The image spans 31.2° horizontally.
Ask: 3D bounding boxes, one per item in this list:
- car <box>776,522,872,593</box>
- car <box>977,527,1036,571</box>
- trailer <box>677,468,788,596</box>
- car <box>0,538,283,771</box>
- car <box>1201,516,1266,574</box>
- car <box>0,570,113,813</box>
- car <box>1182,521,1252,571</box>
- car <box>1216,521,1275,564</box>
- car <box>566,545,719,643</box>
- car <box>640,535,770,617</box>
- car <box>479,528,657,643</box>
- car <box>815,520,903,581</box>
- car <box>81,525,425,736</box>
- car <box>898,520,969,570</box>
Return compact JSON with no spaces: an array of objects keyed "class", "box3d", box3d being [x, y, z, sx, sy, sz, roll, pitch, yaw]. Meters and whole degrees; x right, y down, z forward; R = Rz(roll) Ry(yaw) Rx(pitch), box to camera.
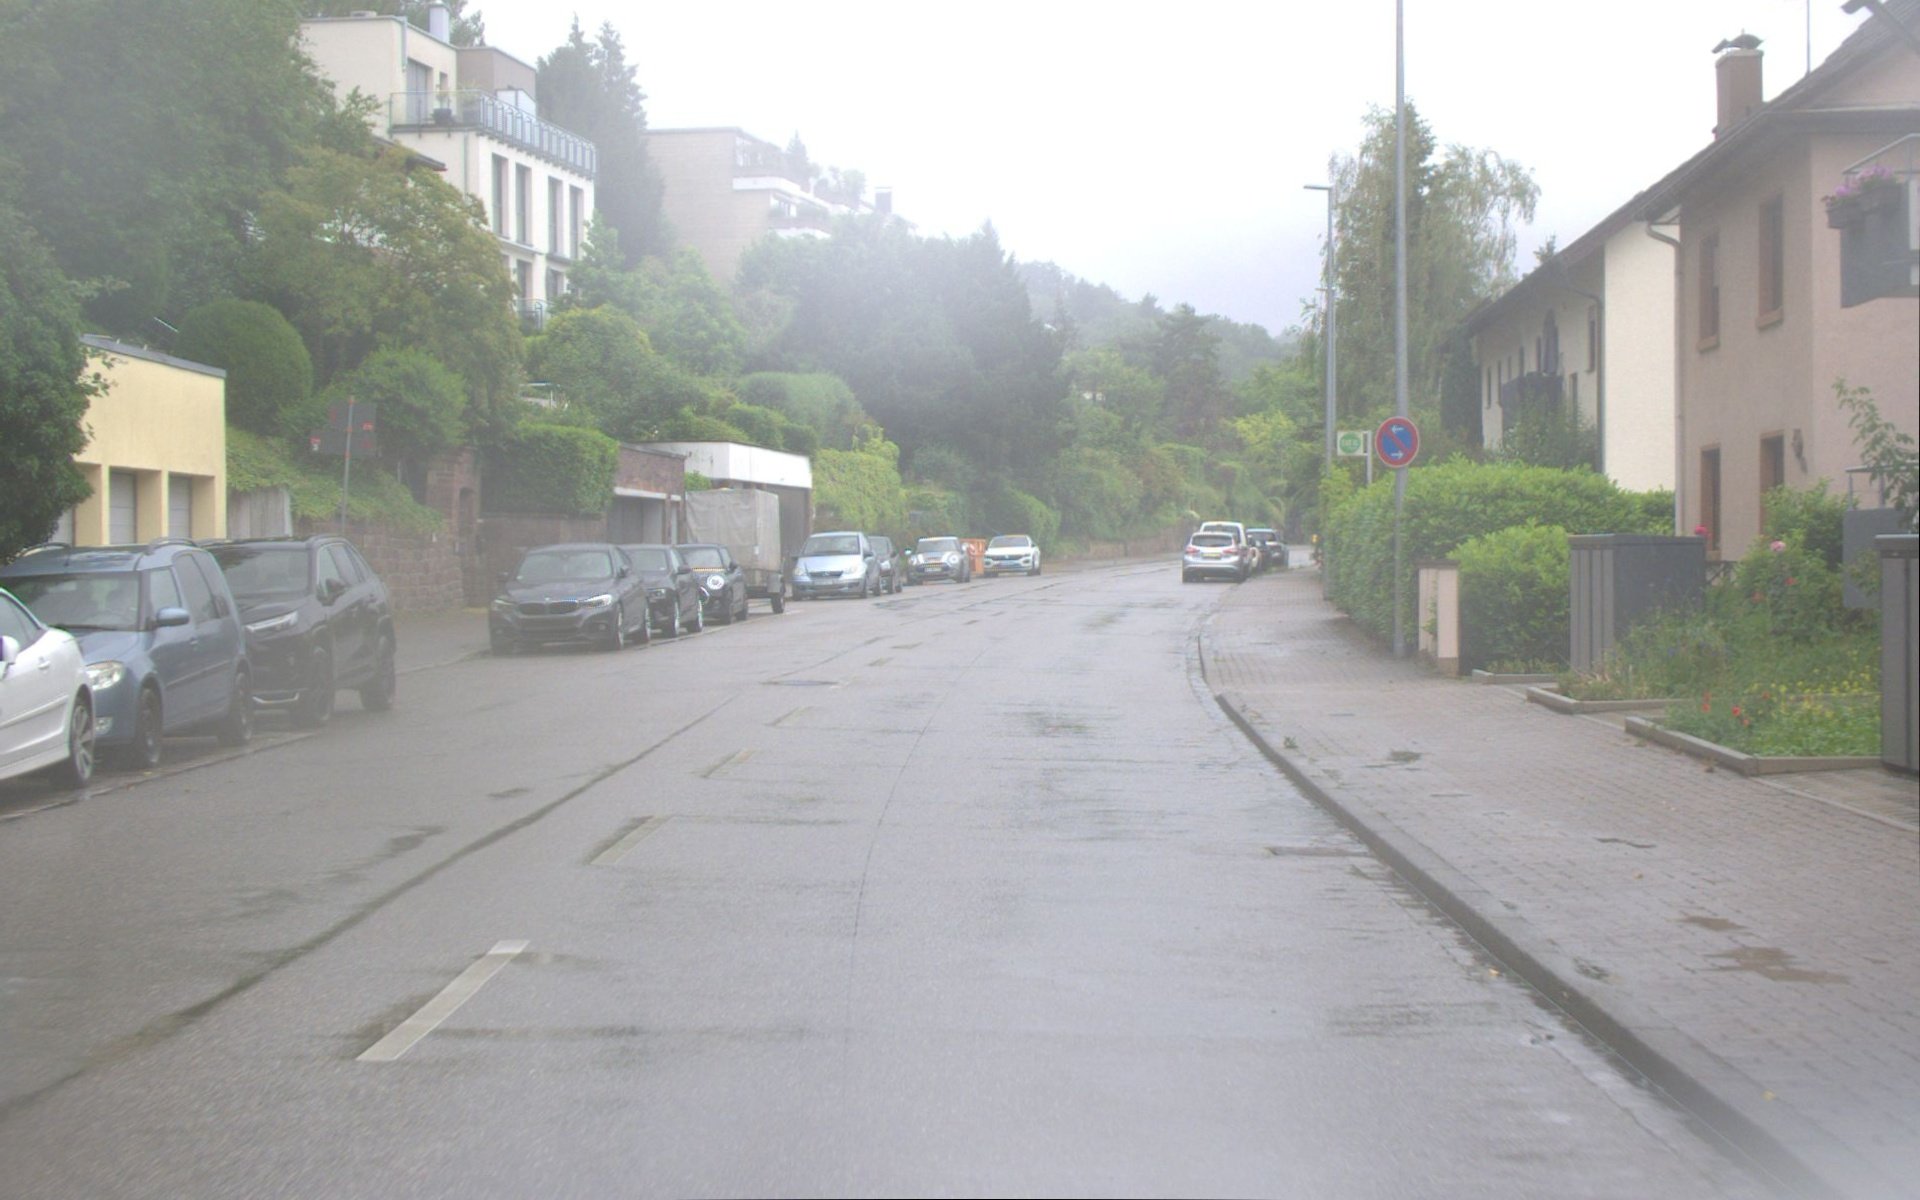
[{"class":"car","box3d":[-3.188,-1.022,81.157,1.756,1.534,3.756,-3,1,5]},{"class":"car","box3d":[1.677,-1.820,122.964,1.756,1.492,4.219,-1,1,6]},{"class":"trailer","box3d":[-4.397,-1.323,66.838,1.537,2.391,3.072,-2,1,7]},{"class":"car","box3d":[-6.444,0.350,25.605,1.742,1.555,4.109,-2,1,3]},{"class":"car","box3d":[8.717,-1.745,109.384,1.785,1.784,4.360,1,1,8]},{"class":"car","box3d":[-6.491,0.572,20.818,1.716,1.361,4.084,-2,2,-1]},{"class":"car","box3d":[7.762,-1.626,103.510,1.790,1.455,4.307,1,1,8]},{"class":"car","box3d":[9.603,-1.930,115.608,1.710,1.398,4.202,1,1,8]},{"class":"car","box3d":[-4.996,-0.118,54.544,1.785,1.410,4.217,-1,2,3]},{"class":"car","box3d":[-4.490,-0.454,61.107,1.808,1.344,3.776,-1,2,3]},{"class":"car","box3d":[-5.488,-0.243,48.625,1.785,1.450,4.755,-2,1,2]},{"class":"car","box3d":[-2.520,-1.267,86.742,1.756,1.404,3.704,-3,1,5]},{"class":"car","box3d":[-6.180,0.203,30.592,1.874,1.620,4.593,-3,1,2]},{"class":"car","box3d":[-0.784,-1.674,103.959,1.756,1.397,3.769,-2,1,5]}]
